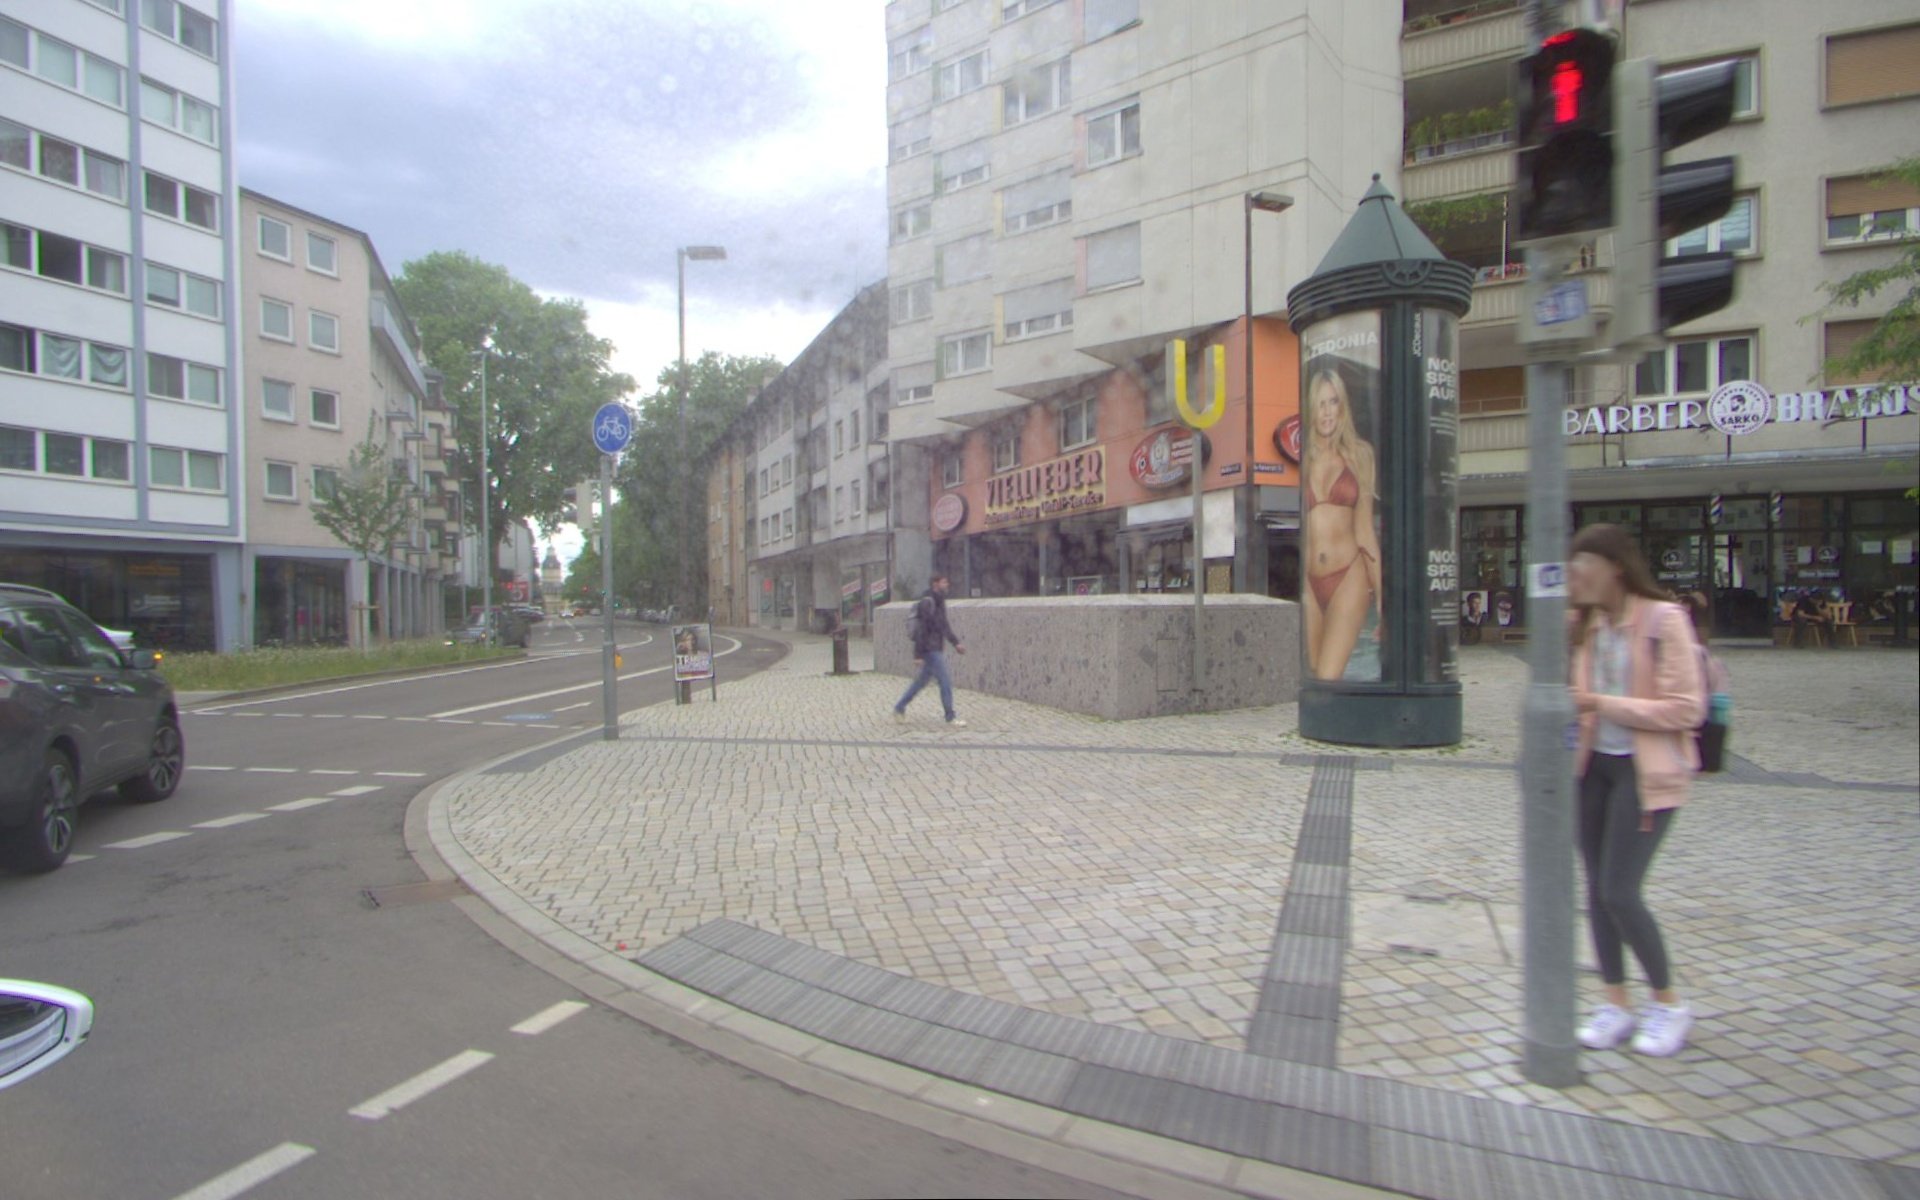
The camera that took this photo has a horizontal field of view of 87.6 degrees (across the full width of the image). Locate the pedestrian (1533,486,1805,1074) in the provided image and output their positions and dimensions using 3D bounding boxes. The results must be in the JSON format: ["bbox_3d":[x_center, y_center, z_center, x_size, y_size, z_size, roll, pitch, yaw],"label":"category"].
[{"bbox_3d":[2.341,0.551,3.370,0.590,1.784,0.523,0,0,14],"label":"pedestrian"}]

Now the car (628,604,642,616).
[{"bbox_3d":[-48.851,1.526,150.335,1.838,1.798,3.972,1,0,-21],"label":"car"}]

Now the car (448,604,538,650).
[{"bbox_3d":[-16.689,0.916,36.021,1.715,1.501,4.563,-1,0,-9],"label":"car"}]

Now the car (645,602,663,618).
[{"bbox_3d":[-36.418,1.193,119.187,1.838,1.798,3.972,1,0,-21],"label":"car"}]

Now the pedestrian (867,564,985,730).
[{"bbox_3d":[-0.406,0.534,12.060,1.136,1.888,0.801,0,2,32],"label":"pedestrian"}]

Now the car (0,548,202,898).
[{"bbox_3d":[-6.751,0.671,6.754,1.841,1.797,4.547,1,-2,-27],"label":"car"}]

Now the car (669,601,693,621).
[{"bbox_3d":[-26.549,1.021,95.146,1.838,1.798,3.972,1,0,-21],"label":"car"}]

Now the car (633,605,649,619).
[{"bbox_3d":[-43.145,1.576,135.528,1.838,1.798,3.972,1,0,-21],"label":"car"}]

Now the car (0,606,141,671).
[{"bbox_3d":[-23.062,0.929,24.394,1.718,1.501,4.557,-1,0,19],"label":"car"}]

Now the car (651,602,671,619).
[{"bbox_3d":[-32.182,1.111,107.783,1.838,1.798,3.972,1,0,-21],"label":"car"}]

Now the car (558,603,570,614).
[{"bbox_3d":[-66.798,1.451,168.995,1.838,1.798,3.972,1,0,-21],"label":"car"}]

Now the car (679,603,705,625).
[{"bbox_3d":[-23.723,1.237,88.594,1.838,1.798,3.972,1,0,-21],"label":"car"}]
